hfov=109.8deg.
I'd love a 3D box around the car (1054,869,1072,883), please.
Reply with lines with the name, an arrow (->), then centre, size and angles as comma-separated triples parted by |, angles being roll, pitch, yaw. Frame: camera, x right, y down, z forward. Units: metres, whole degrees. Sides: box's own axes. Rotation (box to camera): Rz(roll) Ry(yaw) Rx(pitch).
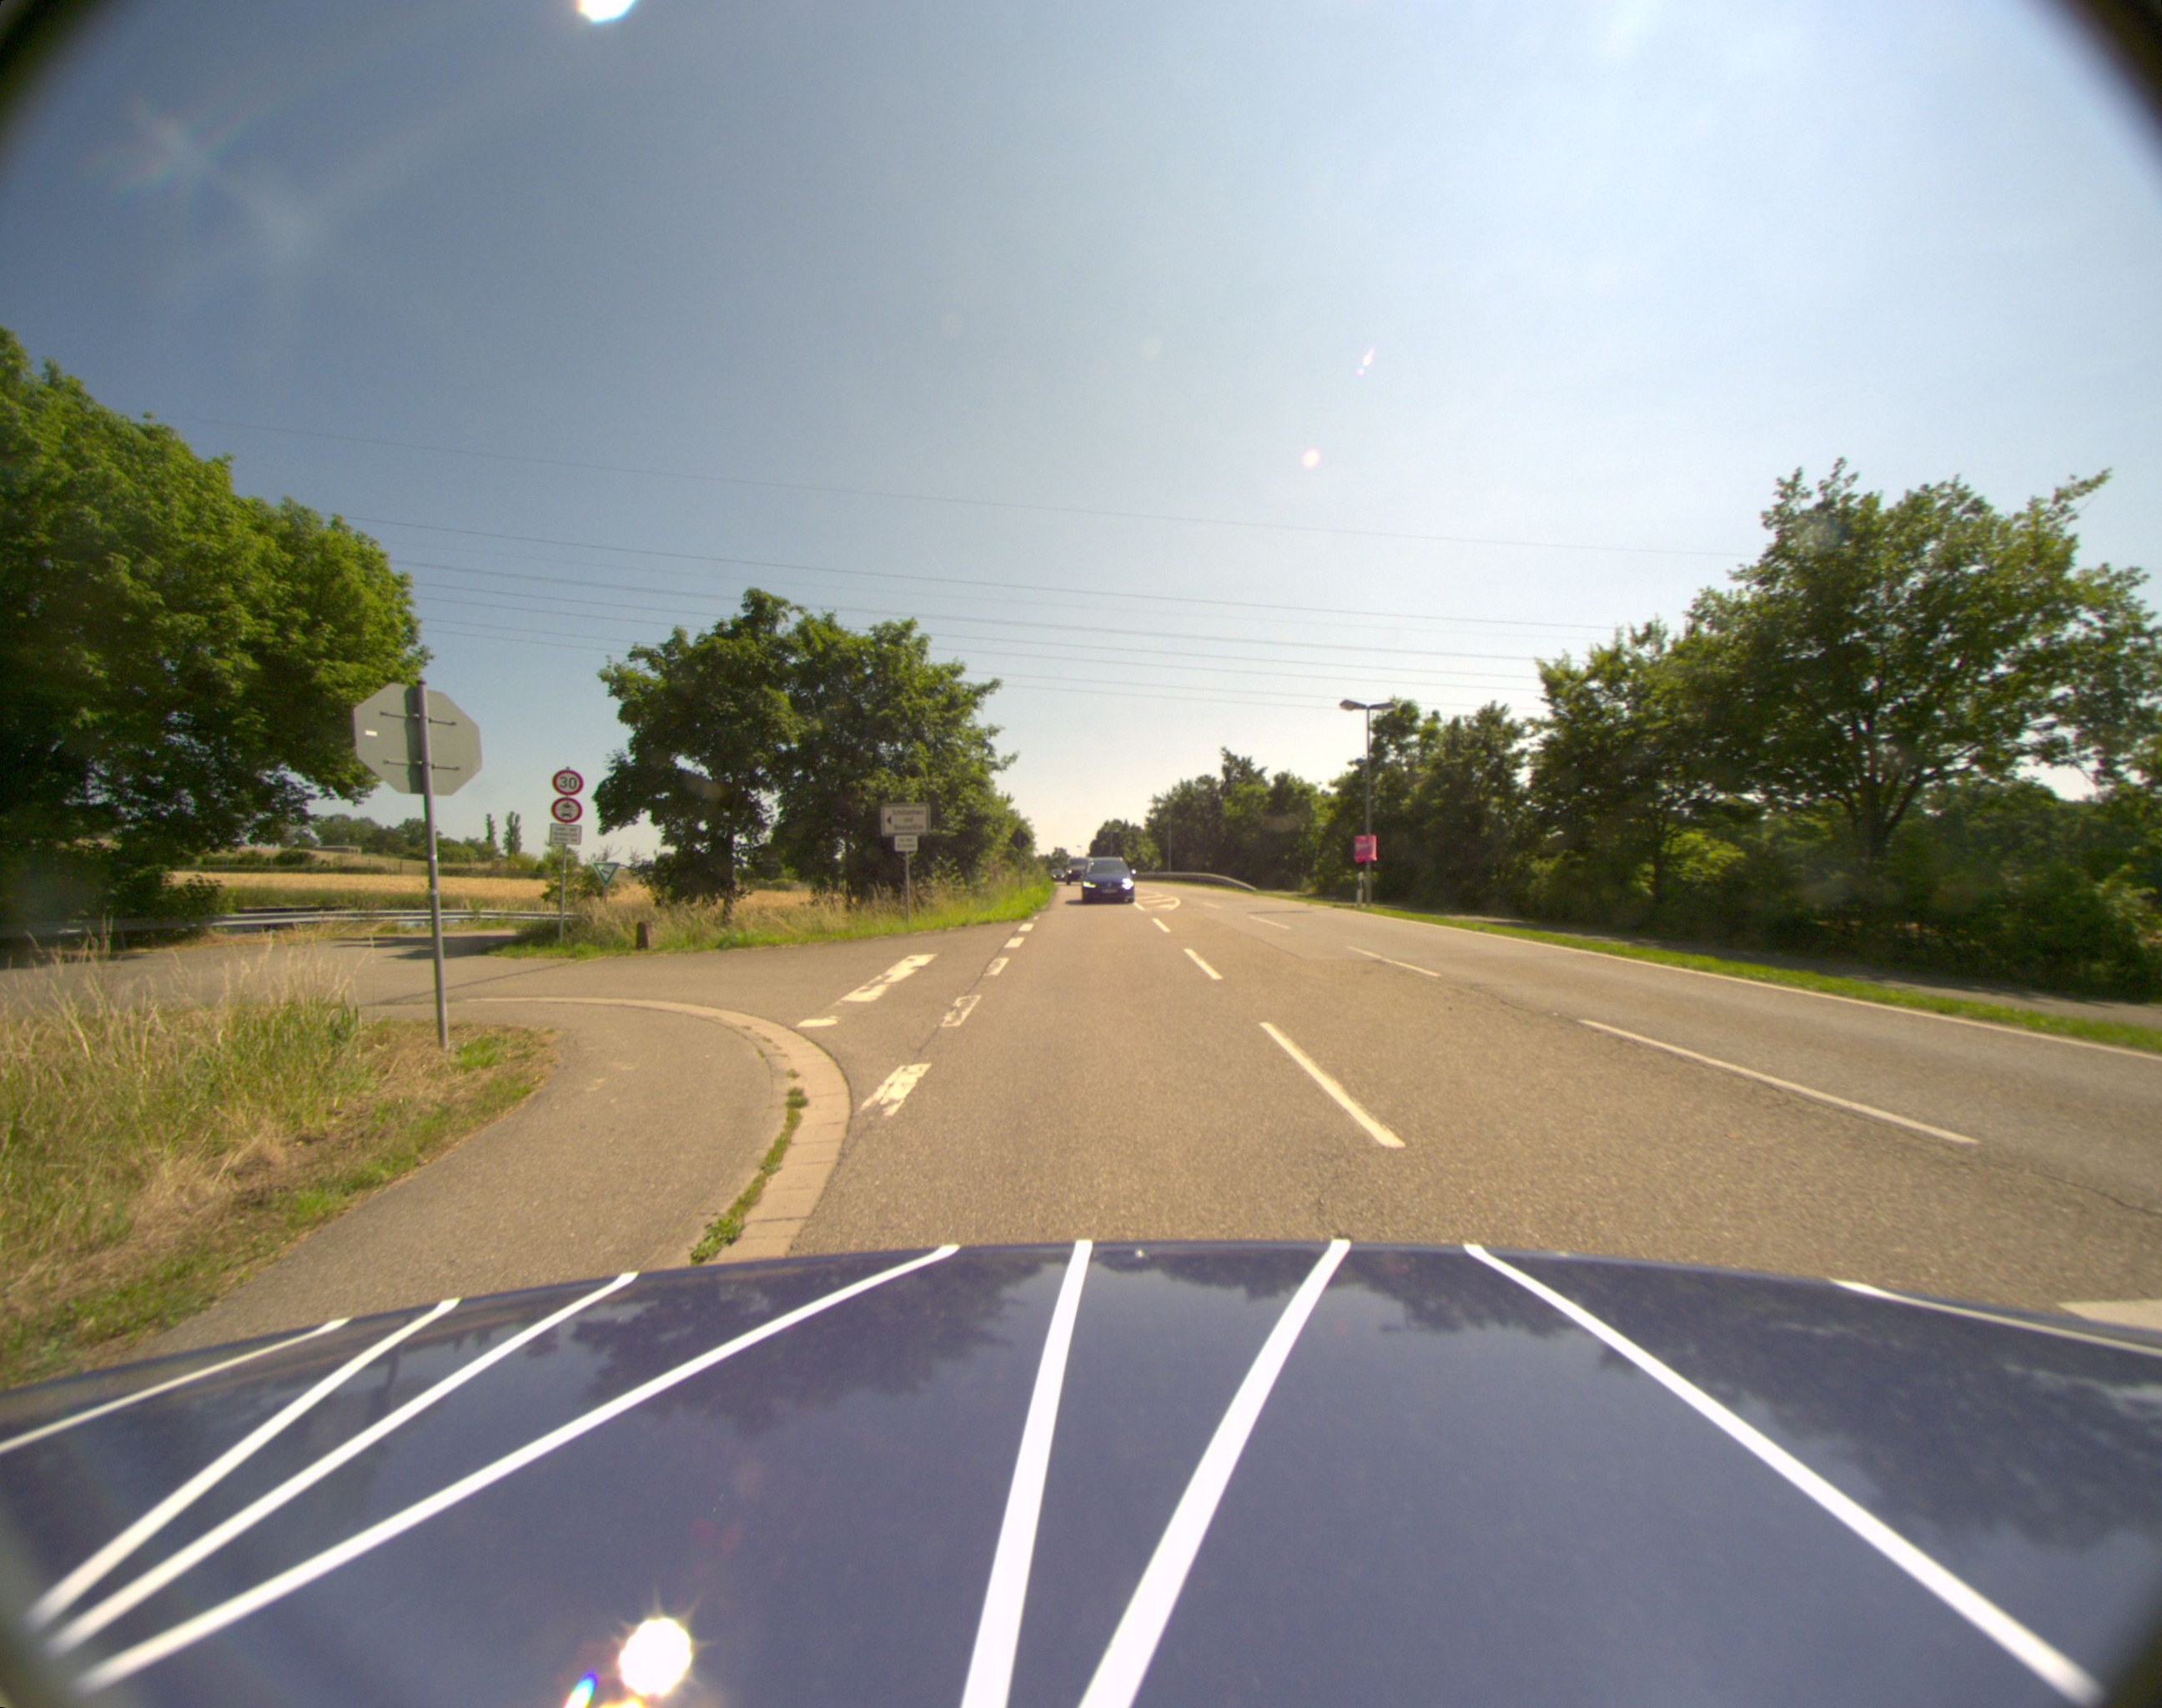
car -> -2.294, 2.742, 95.788 | 1.765, 1.530, 3.682 | -2, 0, -7

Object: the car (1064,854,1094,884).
car -> -0.192, 1.046, 52.862 | 1.765, 1.953, 4.261 | -2, -2, -4

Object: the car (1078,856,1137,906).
car -> 0.824, 0.914, 26.237 | 1.764, 1.519, 4.423 | -2, -2, -1

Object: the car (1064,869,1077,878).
car -> -2.046, 3.798, 148.826 | 1.830, 1.630, 4.138 | 0, -1, -10
